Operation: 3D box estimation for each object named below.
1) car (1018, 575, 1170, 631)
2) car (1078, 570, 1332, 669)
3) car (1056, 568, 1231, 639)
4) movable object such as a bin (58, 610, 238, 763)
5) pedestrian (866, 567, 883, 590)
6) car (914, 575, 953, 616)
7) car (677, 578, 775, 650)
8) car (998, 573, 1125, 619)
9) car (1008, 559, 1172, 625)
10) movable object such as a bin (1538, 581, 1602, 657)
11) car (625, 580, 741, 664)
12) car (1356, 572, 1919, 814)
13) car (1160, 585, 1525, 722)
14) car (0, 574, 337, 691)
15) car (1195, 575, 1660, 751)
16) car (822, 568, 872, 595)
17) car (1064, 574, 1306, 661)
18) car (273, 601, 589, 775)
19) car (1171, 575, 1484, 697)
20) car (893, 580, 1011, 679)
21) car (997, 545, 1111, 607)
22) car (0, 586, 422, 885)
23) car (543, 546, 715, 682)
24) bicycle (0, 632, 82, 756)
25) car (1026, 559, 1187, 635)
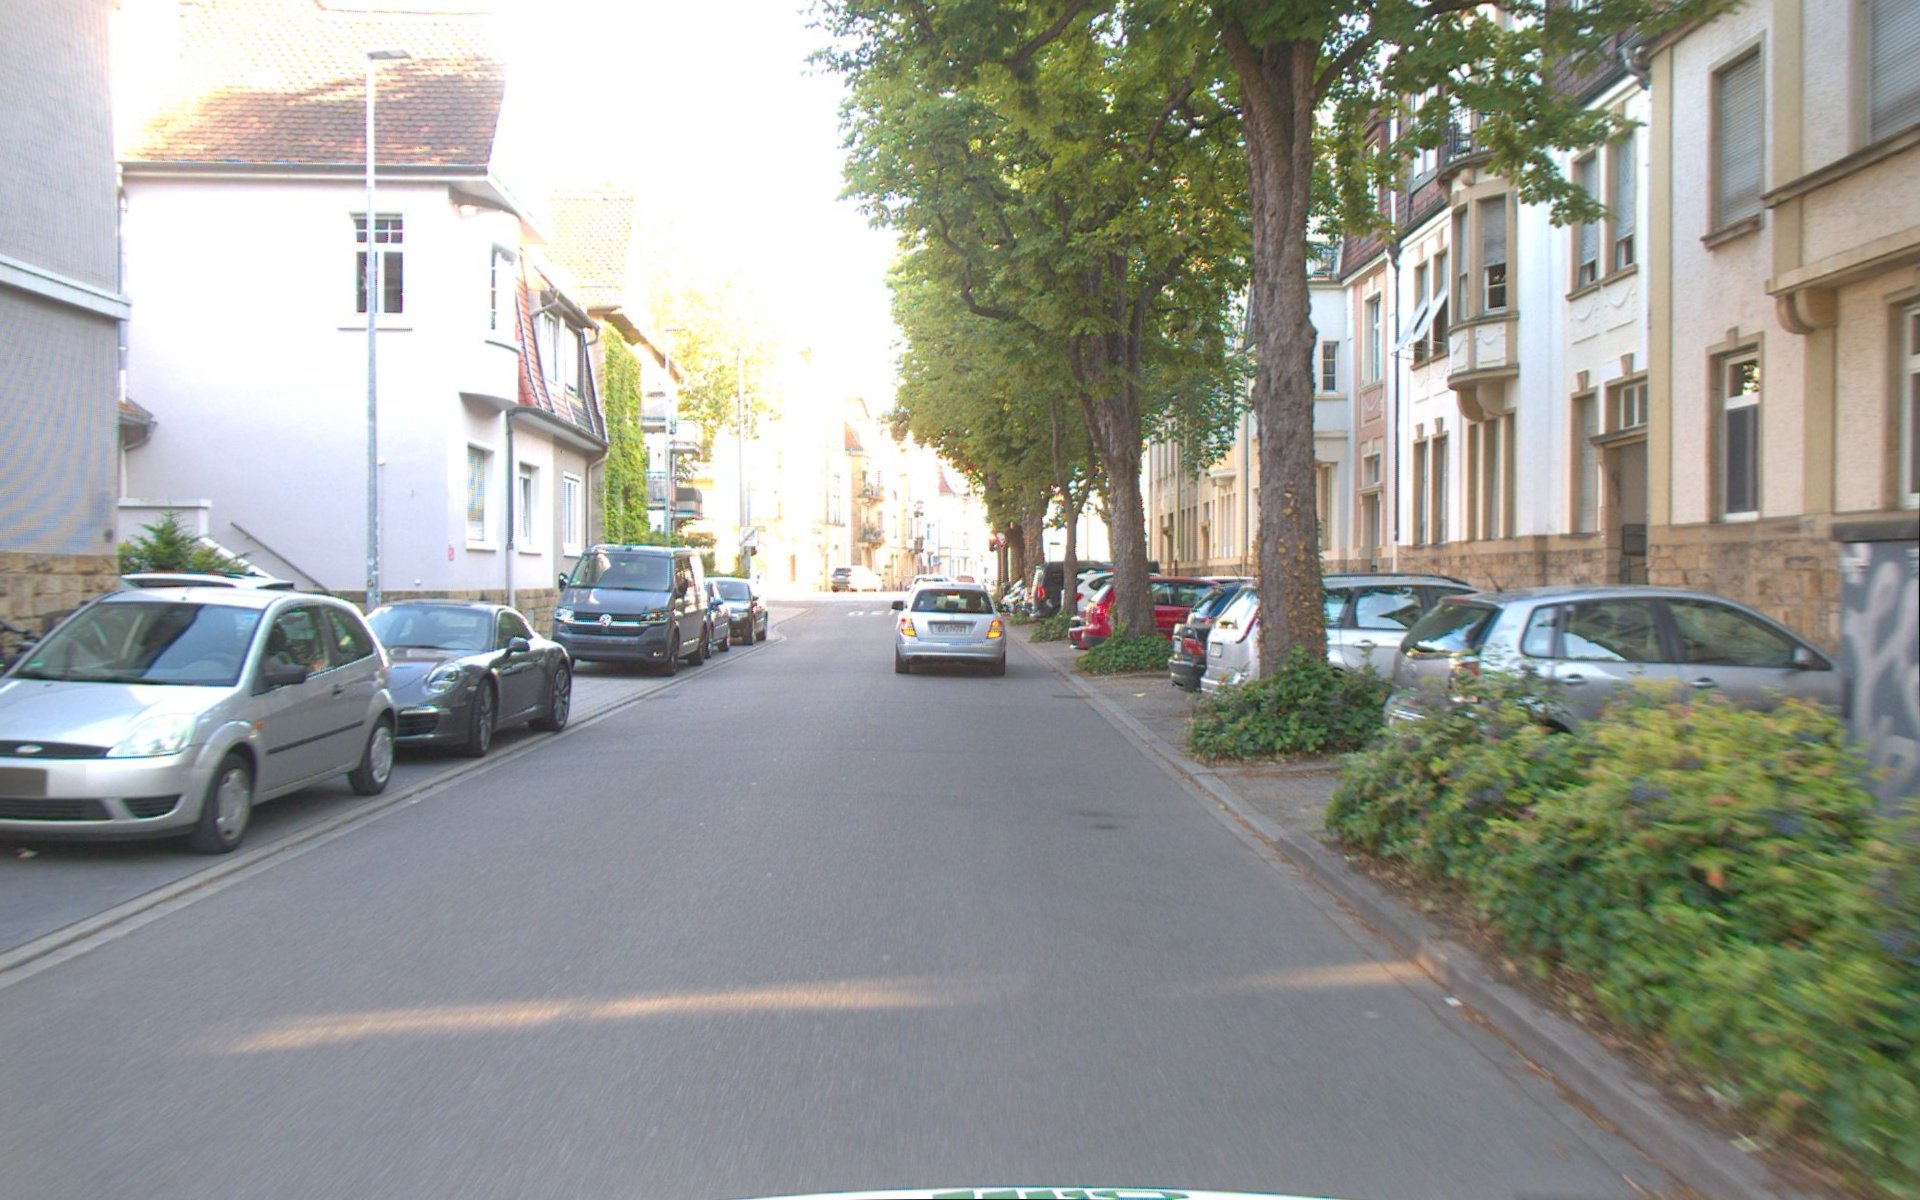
[{"bbox_3d":[3.868,0.070,48.171,4.203,1.567,1.876,0,1,-3],"label":"car"},{"bbox_3d":[4.157,0.314,28.582,4.103,1.501,1.852,-2,1,1],"label":"car"},{"bbox_3d":[4.429,0.067,40.429,4.027,1.598,1.877,-2,1,-1],"label":"car"},{"bbox_3d":[-7.728,0.777,15.861,0.707,1.306,2.096,0,1,-1],"label":"movable object such as a bin"},{"bbox_3d":[-6.610,-1.695,128.201,1.195,1.751,1.504,1,1,2],"label":"pedestrian"},{"bbox_3d":[-1.081,-0.202,68.544,1.590,1.597,3.680,0,1,0],"label":"car"},{"bbox_3d":[-5.319,0.277,38.101,1.660,1.472,4.357,1,1,-1],"label":"car"},{"bbox_3d":[3.496,-0.151,57.351,4.203,1.442,1.876,-1,1,-3],"label":"car"},{"bbox_3d":[4.067,-0.265,52.435,4.953,2.023,2.071,0,1,-3],"label":"car"},{"bbox_3d":[8.976,0.275,24.357,0.686,1.067,0.541,-3,1,-2],"label":"movable object such as a bin"},{"bbox_3d":[-5.416,0.381,32.791,1.620,1.472,4.237,1,1,-1],"label":"car"},{"bbox_3d":[4.892,0.578,11.648,3.719,1.463,1.747,-1,1,-6],"label":"car"},{"bbox_3d":[4.255,0.564,18.809,3.716,1.463,1.817,0,1,-1],"label":"car"},{"bbox_3d":[-10.497,0.406,22.046,3.788,1.468,1.634,0,2,-5],"label":"car"},{"bbox_3d":[4.503,0.560,16.247,4.067,1.604,1.710,0,1,-6],"label":"car"},{"bbox_3d":[-7.076,-1.157,103.923,1.951,1.612,4.004,0,1,15],"label":"car"},{"bbox_3d":[4.188,0.310,31.308,4.320,1.443,1.877,-2,1,1],"label":"car"},{"bbox_3d":[-4.784,0.715,15.580,1.499,1.342,4.228,1,1,2],"label":"car"},{"bbox_3d":[4.671,0.436,21.374,3.715,1.509,1.561,0,1,1],"label":"car"},{"bbox_3d":[-0.128,0.423,26.761,1.747,1.462,3.850,1,1,0],"label":"car"},{"bbox_3d":[3.676,-0.954,65.213,4.301,2.405,1.999,0,1,-3],"label":"car"},{"bbox_3d":[-4.904,0.690,10.588,1.620,1.470,3.960,1,1,0],"label":"car"},{"bbox_3d":[-5.300,0.151,27.096,1.942,1.981,4.850,1,1,-2],"label":"car"},{"bbox_3d":[-8.032,0.787,13.908,0.386,0.953,1.722,0,1,-1],"label":"bicycle"},{"bbox_3d":[3.958,-0.091,45.171,4.135,1.929,1.905,-2,1,-3],"label":"car"}]
